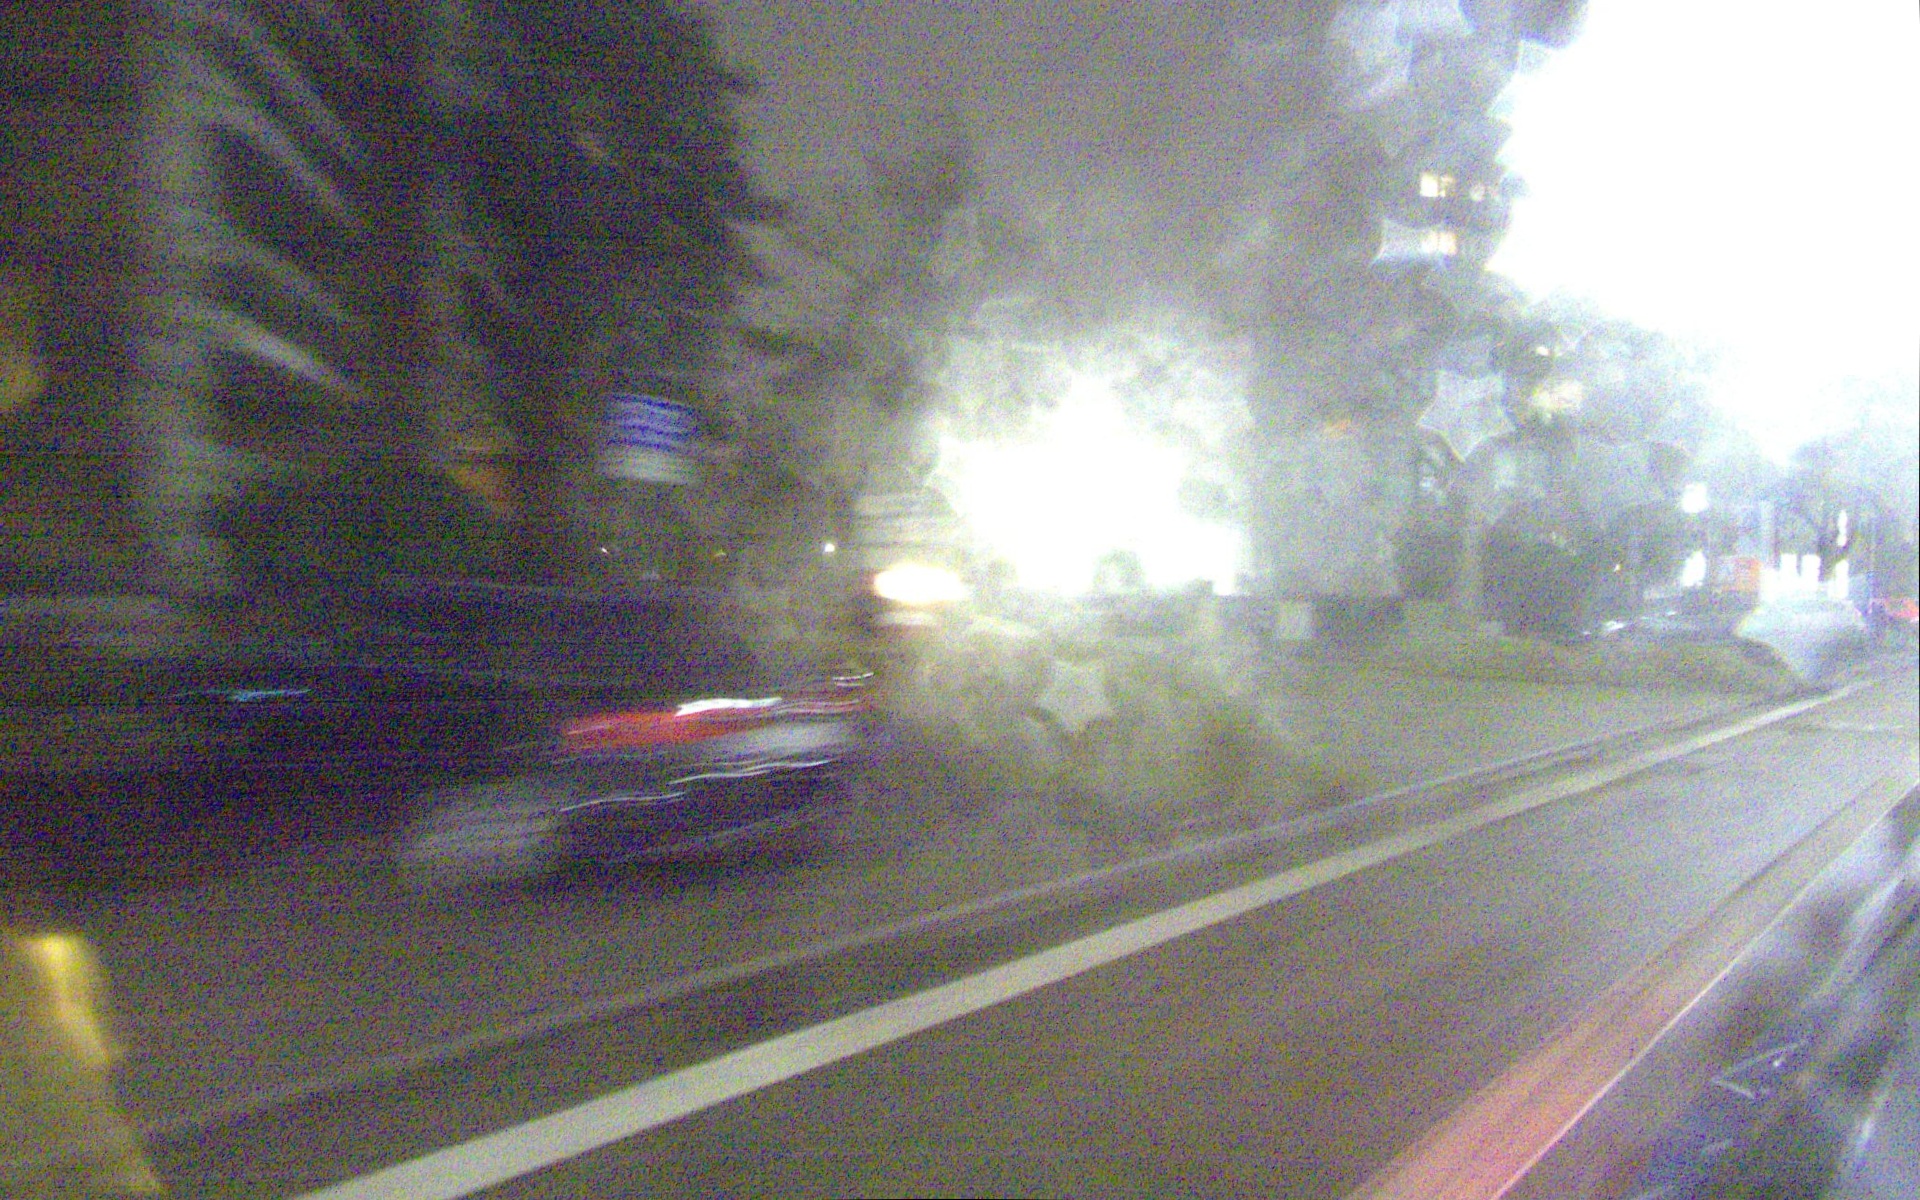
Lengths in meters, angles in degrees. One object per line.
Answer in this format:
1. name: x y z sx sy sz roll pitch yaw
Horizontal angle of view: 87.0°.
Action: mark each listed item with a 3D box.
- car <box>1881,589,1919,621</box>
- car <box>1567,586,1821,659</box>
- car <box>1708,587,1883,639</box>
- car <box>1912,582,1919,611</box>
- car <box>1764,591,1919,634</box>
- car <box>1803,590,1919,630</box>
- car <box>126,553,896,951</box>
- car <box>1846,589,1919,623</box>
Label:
1. car: 48.408 0.239 49.994 3.946 1.546 1.797 0 1 8
2. car: 16.391 0.465 22.812 4.273 1.486 1.676 1 1 12
3. car: 25.406 0.379 30.872 3.835 1.531 1.711 0 1 3
4. car: 59.690 -0.199 60.357 3.897 1.793 1.664 0 1 13
5. car: 30.802 0.416 35.104 4.185 1.435 1.781 0 1 9
6. car: 35.523 0.400 39.291 4.108 1.501 1.662 0 -1 1
7. car: -2.775 0.530 5.919 4.562 1.493 1.820 3 2 31
8. car: 44.742 0.278 48.111 3.602 1.546 1.715 0 1 4
